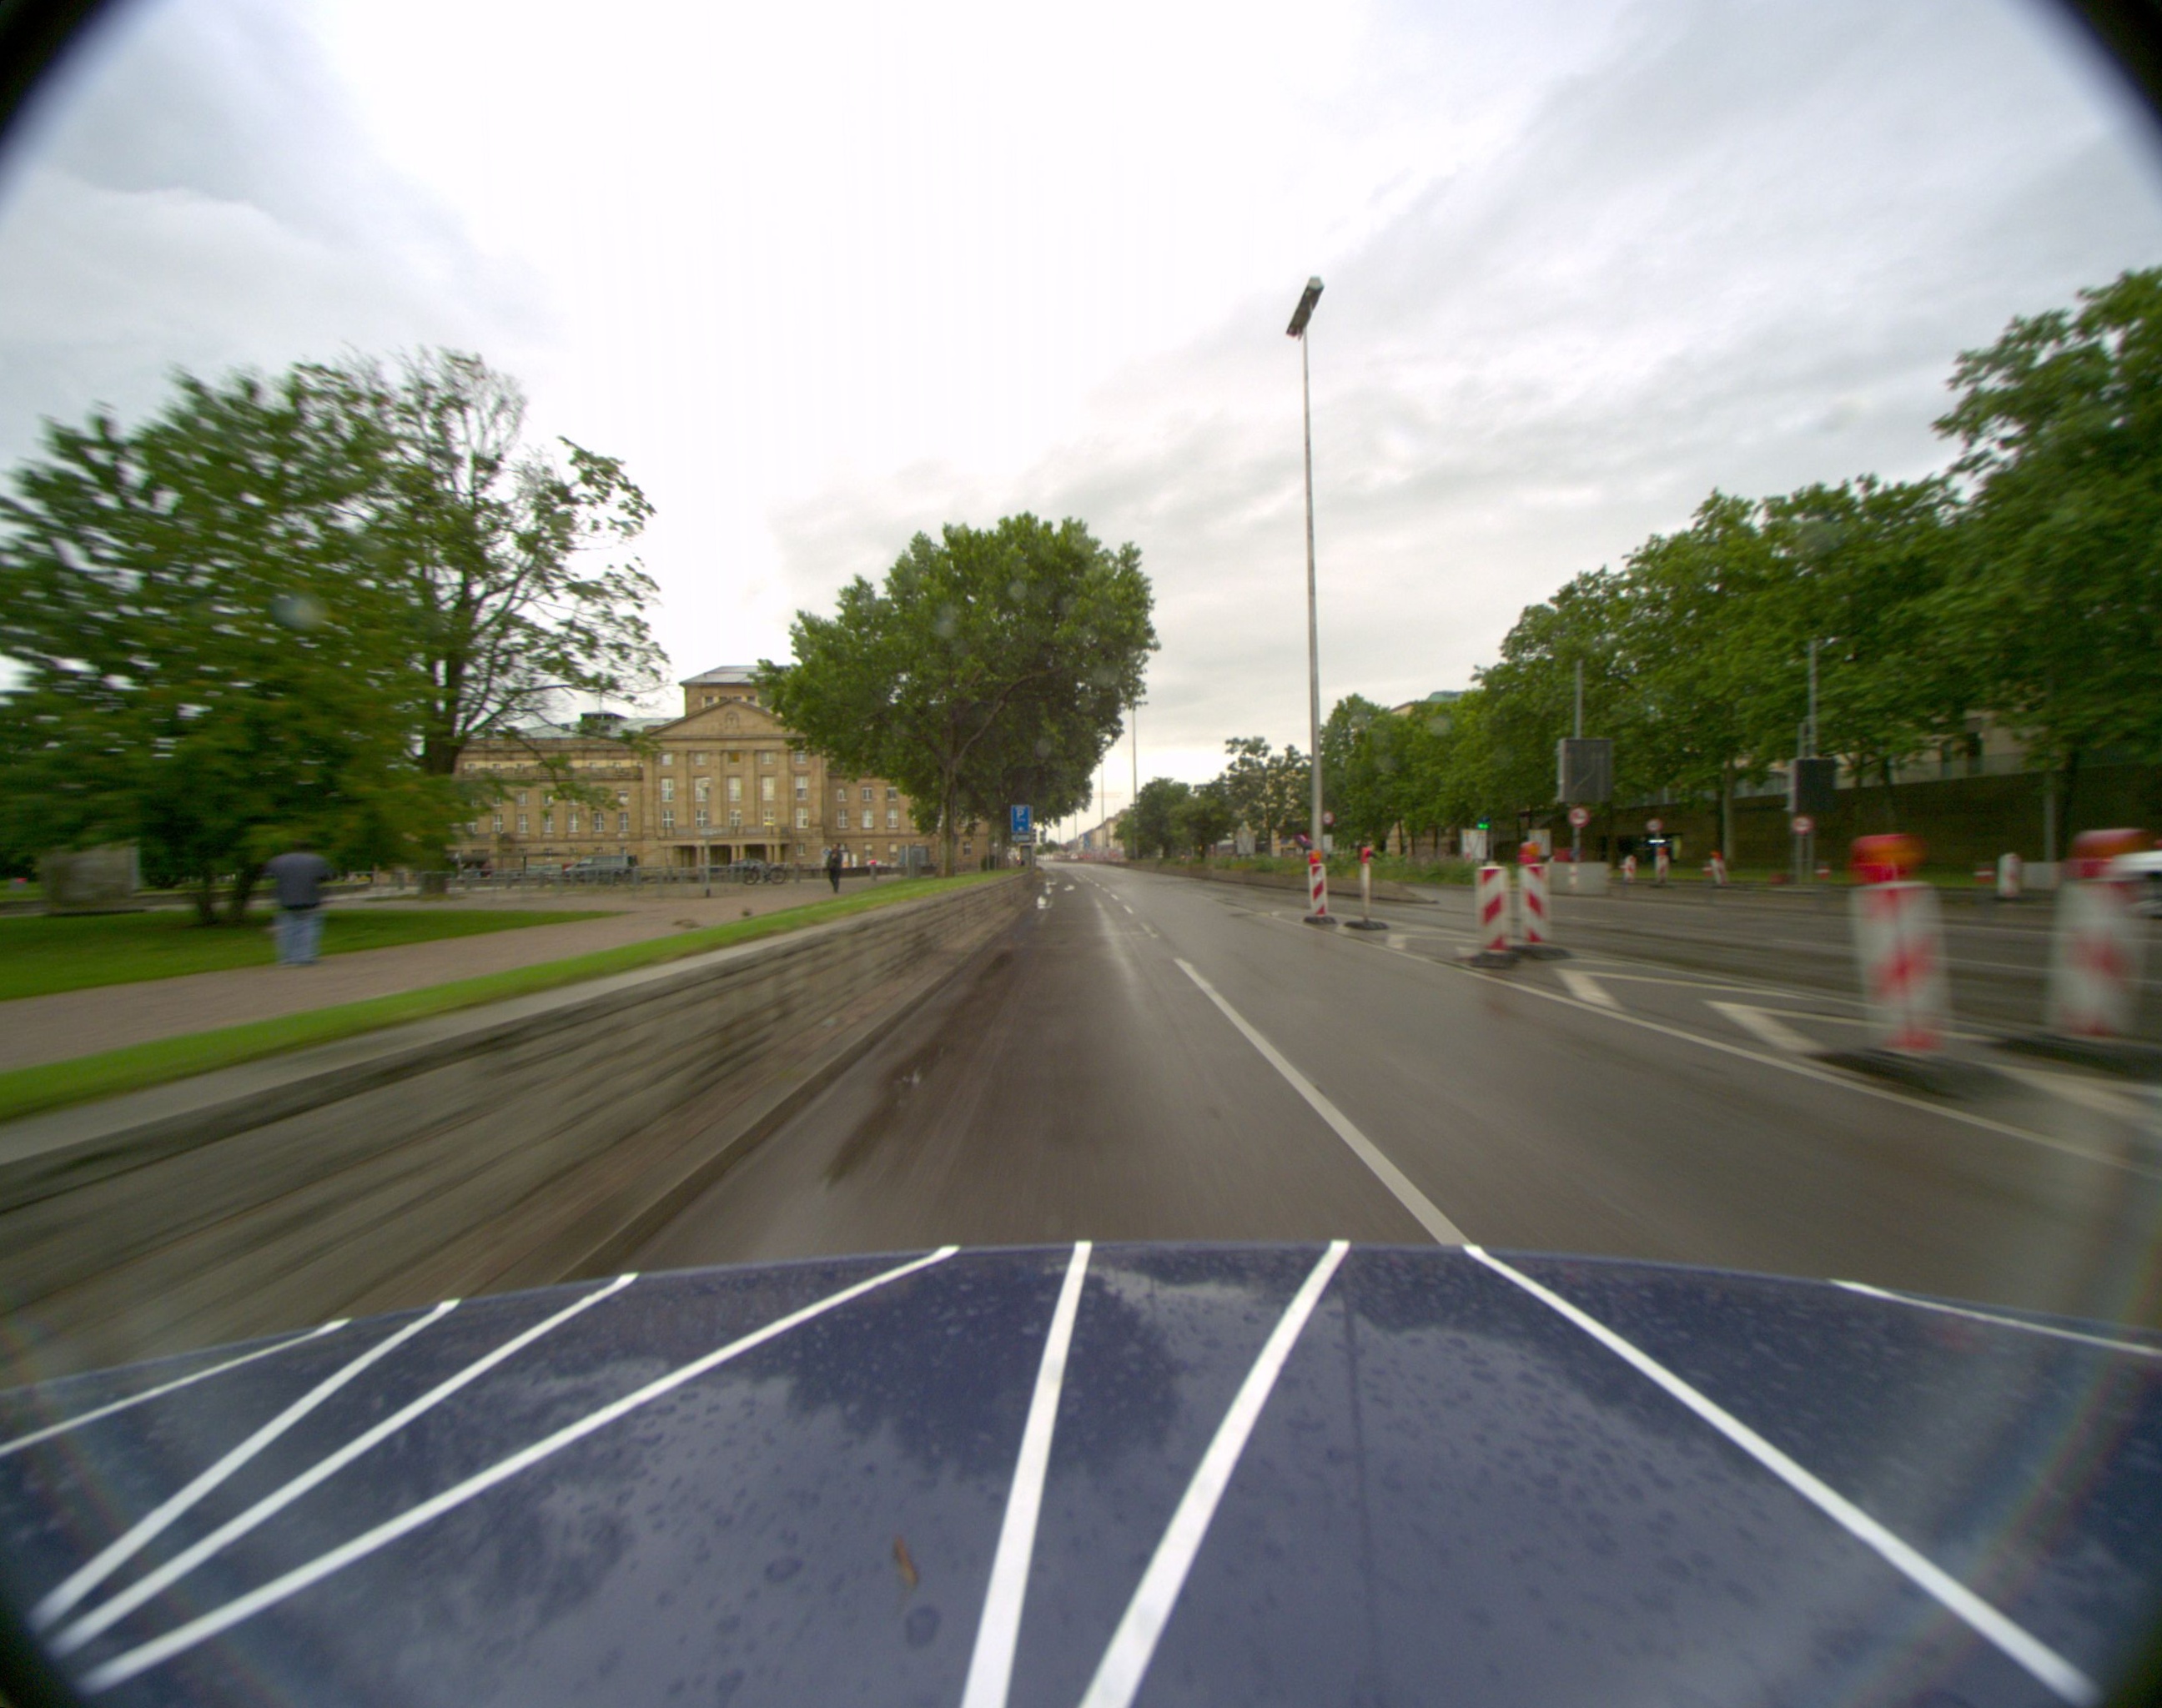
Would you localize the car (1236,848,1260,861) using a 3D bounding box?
[{"bbox_3d":[20.364,0.006,92.923,1.999,1.521,3.998,0,1,-2],"label":"car"}]

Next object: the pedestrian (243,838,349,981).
[{"bbox_3d":[-9.908,0.679,9.617,0.596,1.745,0.725,0,0,-4],"label":"pedestrian"}]

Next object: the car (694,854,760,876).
[{"bbox_3d":[-25.704,0.799,55.291,3.997,1.591,1.656,0,1,-1],"label":"car"}]

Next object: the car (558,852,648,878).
[{"bbox_3d":[-35.212,0.767,56.079,5.021,1.753,2.459,-1,1,-6],"label":"car"}]

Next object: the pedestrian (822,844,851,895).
[{"bbox_3d":[-8.338,0.523,25.960,0.707,1.708,0.692,-2,0,-2],"label":"pedestrian"}]

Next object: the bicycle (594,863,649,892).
[{"bbox_3d":[-17.741,0.909,29.365,1.646,1.079,0.709,-1,0,-8],"label":"bicycle"}]

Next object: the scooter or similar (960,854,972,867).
[{"bbox_3d":[-11.133,0.608,73.362,0.544,1.248,1.433,-1,0,-35],"label":"scooter or similar"}]

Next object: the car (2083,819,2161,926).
[{"bbox_3d":[19.739,0.354,11.689,1.999,1.830,4.889,0,1,-4],"label":"car"}]

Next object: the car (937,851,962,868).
[{"bbox_3d":[-13.319,0.582,77.284,1.999,1.600,5.234,-2,-1,-5],"label":"car"}]

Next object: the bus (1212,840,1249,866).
[{"bbox_3d":[24.000,-0.136,122.841,2.811,3.789,14.595,-3,0,0],"label":"bus"}]

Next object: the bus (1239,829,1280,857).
[{"bbox_3d":[28.981,-1.677,124.111,3.127,4.227,13.492,-3,0,-1],"label":"bus"}]

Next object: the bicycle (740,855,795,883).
[{"bbox_3d":[-13.627,0.661,33.102,2.041,1.167,0.959,-1,0,-13],"label":"bicycle"}]

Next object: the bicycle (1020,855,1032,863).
[{"bbox_3d":[-7.925,0.715,109.390,1.594,0.988,0.524,-2,1,-2],"label":"bicycle"}]
